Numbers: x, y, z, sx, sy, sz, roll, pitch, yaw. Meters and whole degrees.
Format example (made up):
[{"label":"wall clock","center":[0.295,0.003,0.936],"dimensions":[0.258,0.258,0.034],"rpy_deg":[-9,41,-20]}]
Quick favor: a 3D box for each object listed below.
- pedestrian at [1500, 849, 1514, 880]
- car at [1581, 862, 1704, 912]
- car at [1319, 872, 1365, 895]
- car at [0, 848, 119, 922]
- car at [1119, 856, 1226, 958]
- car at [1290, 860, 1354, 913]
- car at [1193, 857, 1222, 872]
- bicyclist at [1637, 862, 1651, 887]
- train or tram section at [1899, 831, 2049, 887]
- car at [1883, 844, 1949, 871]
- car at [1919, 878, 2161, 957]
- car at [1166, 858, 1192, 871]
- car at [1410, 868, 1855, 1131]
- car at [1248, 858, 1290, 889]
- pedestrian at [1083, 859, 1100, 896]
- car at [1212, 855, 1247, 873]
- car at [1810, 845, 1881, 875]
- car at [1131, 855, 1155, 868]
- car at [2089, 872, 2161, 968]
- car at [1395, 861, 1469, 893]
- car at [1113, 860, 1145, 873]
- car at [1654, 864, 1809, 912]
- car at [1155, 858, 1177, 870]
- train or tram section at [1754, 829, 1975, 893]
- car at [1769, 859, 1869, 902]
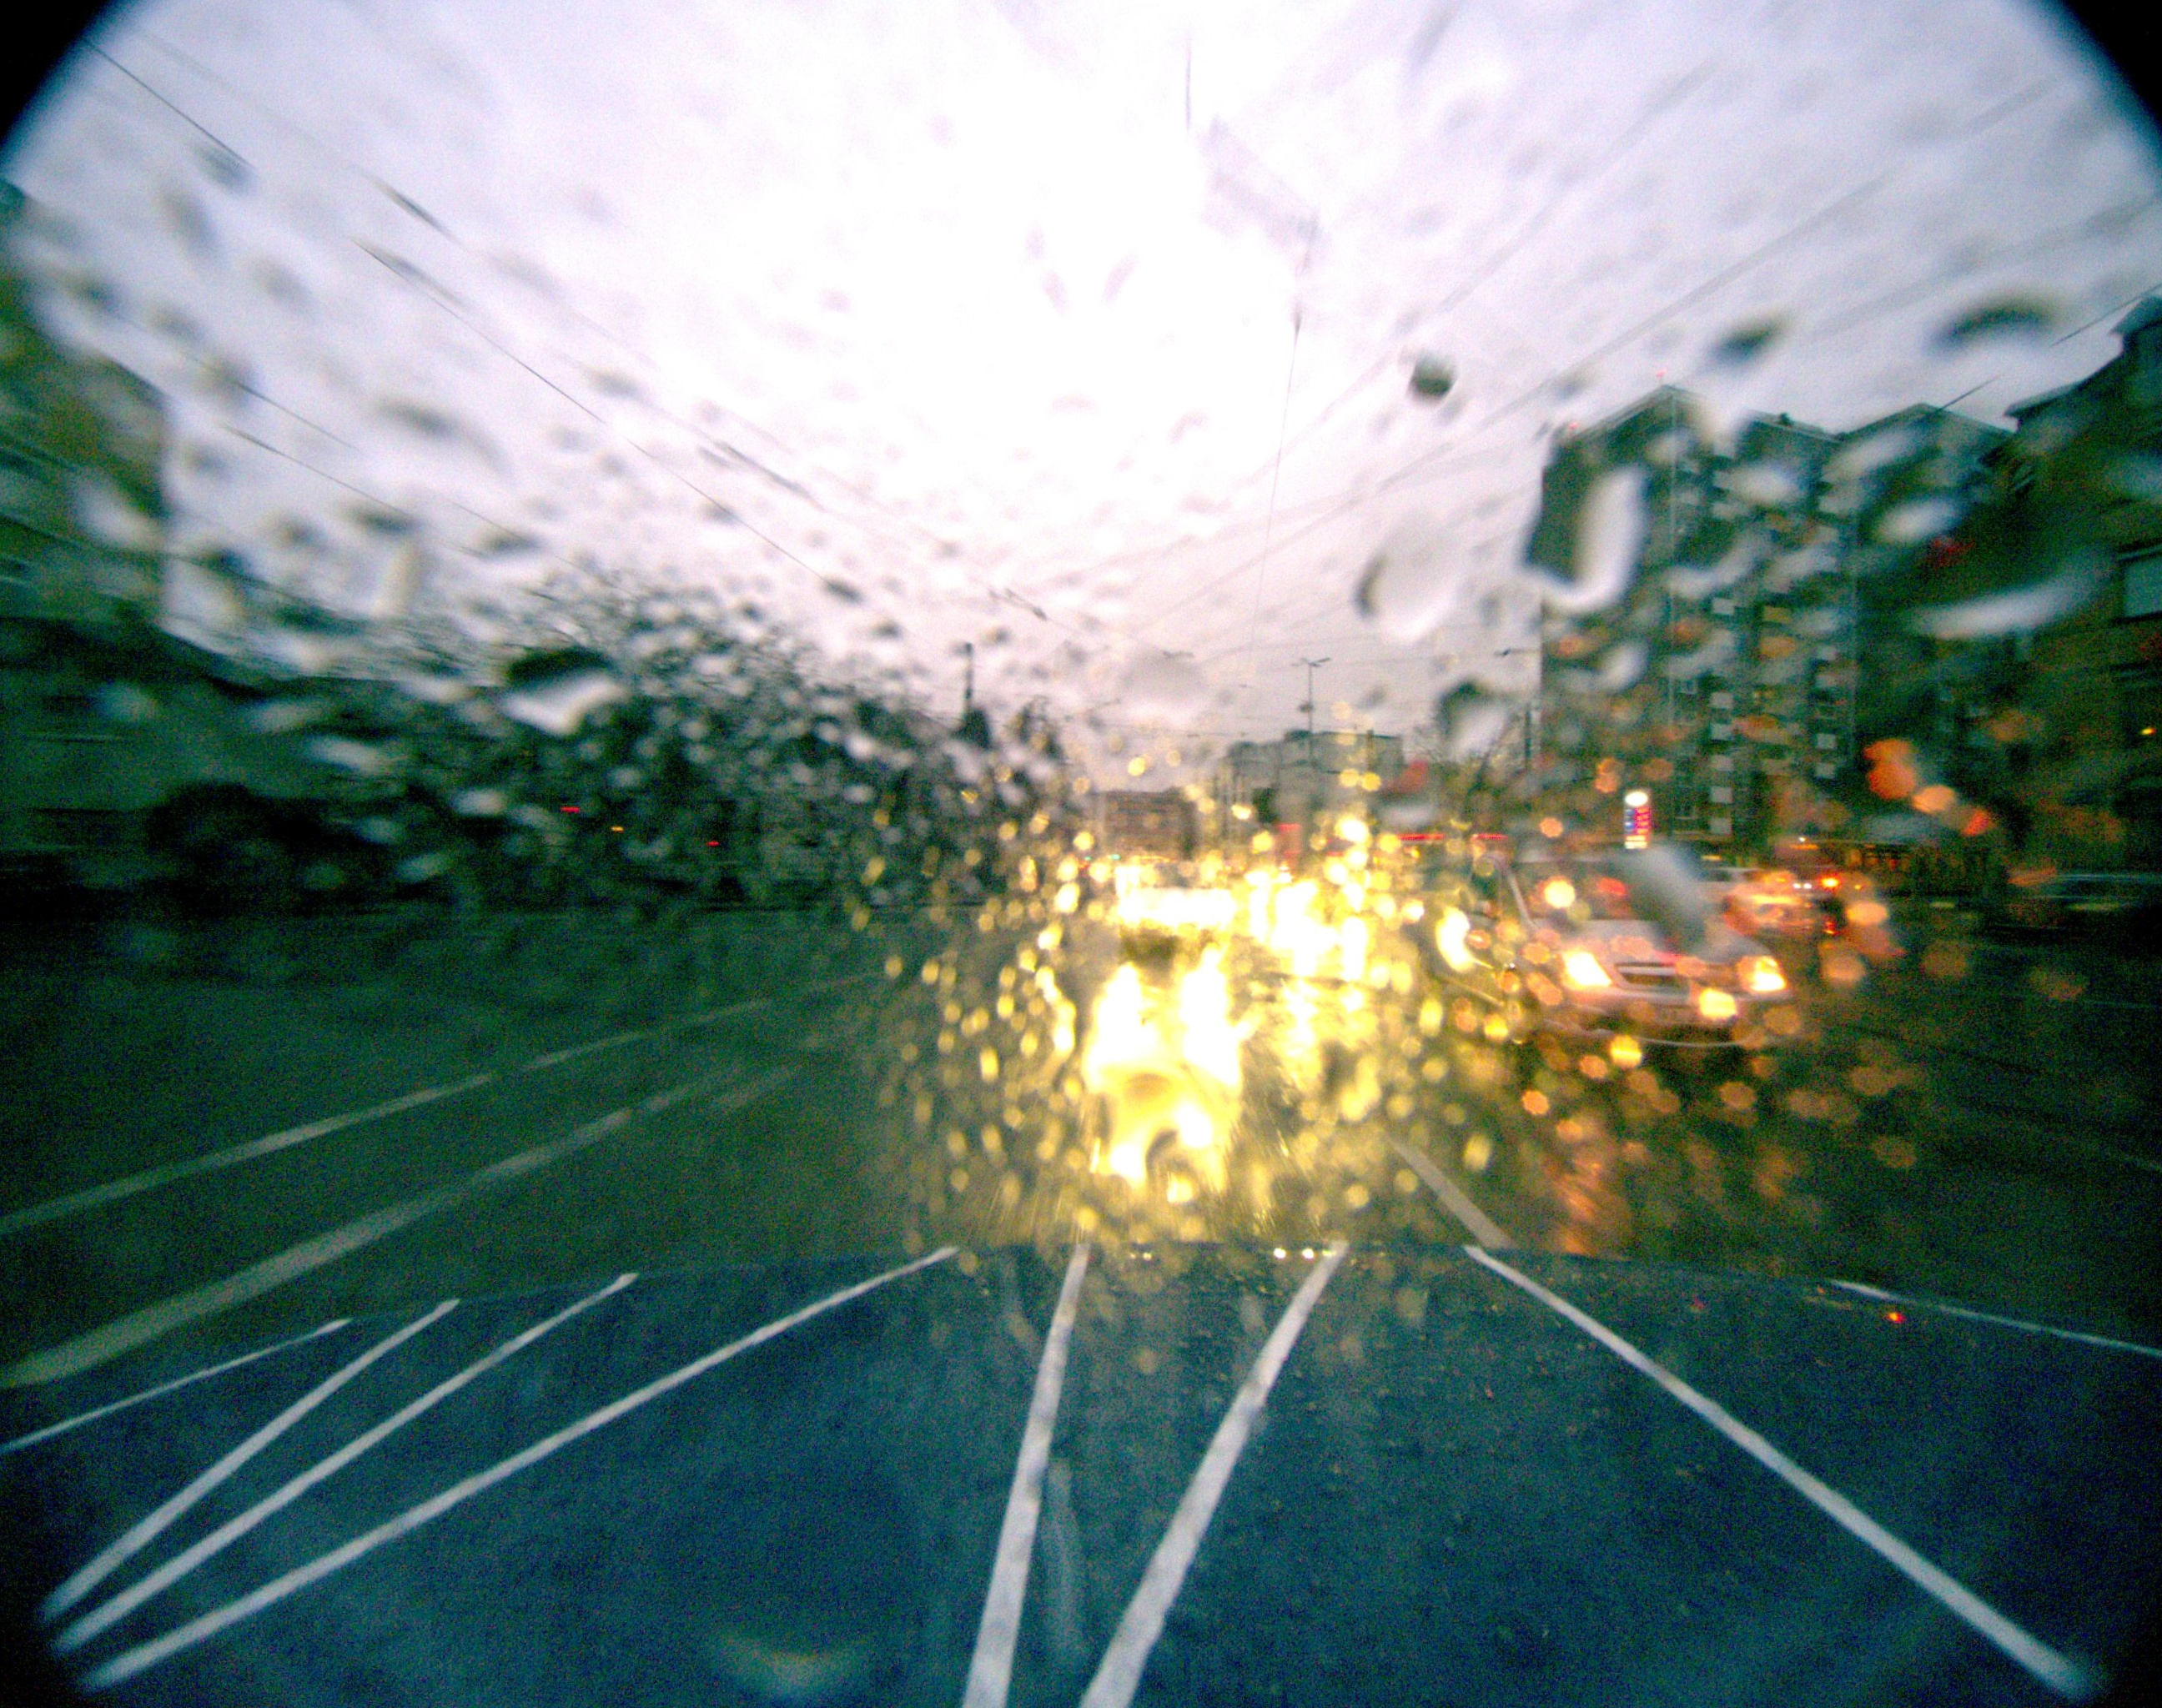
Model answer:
[{"label":"pedestrian","center":[24.294,0.606,43.310],"dimensions":[0.468,1.761,0.629],"rpy_deg":[0,1,6]},{"label":"car","center":[17.883,1.011,24.357],"dimensions":[1.491,1.478,3.152],"rpy_deg":[0,0,-4]},{"label":"car","center":[17.814,2.000,52.033],"dimensions":[1.684,1.449,4.062],"rpy_deg":[0,0,-1]},{"label":"car","center":[-26.291,0.690,17.660],"dimensions":[4.516,1.660,1.997],"rpy_deg":[1,0,-18]},{"label":"car","center":[1.817,0.850,14.046],"dimensions":[1.648,1.575,3.808],"rpy_deg":[0,0,12]},{"label":"car","center":[7.625,0.972,24.334],"dimensions":[1.750,1.535,4.005],"rpy_deg":[1,0,15]},{"label":"car","center":[14.189,1.216,85.495],"dimensions":[1.651,1.620,4.655],"rpy_deg":[1,-1,-10]},{"label":"bicyclist","center":[32.934,1.191,44.454],"dimensions":[0.971,1.382,0.505],"rpy_deg":[0,0,-43]},{"label":"train or tram section","center":[56.388,0.234,47.910],"dimensions":[11.164,3.218,3.163],"rpy_deg":[-1,1,-24]},{"label":"car","center":[62.791,0.242,57.155],"dimensions":[4.004,2.002,1.996],"rpy_deg":[-1,1,-20]},{"label":"car","center":[20.920,1.243,15.955],"dimensions":[1.684,1.346,4.386],"rpy_deg":[0,0,-2]},{"label":"car","center":[11.100,1.150,86.517],"dimensions":[1.650,1.441,3.846],"rpy_deg":[0,0,-14]},{"label":"car","center":[4.338,0.939,6.857],"dimensions":[1.648,1.539,4.113],"rpy_deg":[0,0,11]},{"label":"car","center":[11.214,1.130,45.538],"dimensions":[1.818,1.732,4.188],"rpy_deg":[1,0,6]},{"label":"pedestrian","center":[0.536,1.182,38.917],"dimensions":[0.573,1.828,0.684],"rpy_deg":[6,0,12]},{"label":"car","center":[17.249,1.149,88.582],"dimensions":[2.001,1.934,4.848],"rpy_deg":[3,0,-14]},{"label":"car","center":[53.250,0.402,52.938],"dimensions":[4.004,2.002,1.996],"rpy_deg":[-1,1,-20]},{"label":"car","center":[8.848,1.122,109.255],"dimensions":[1.970,1.772,4.528],"rpy_deg":[1,-1,-16]},{"label":"car","center":[18.486,1.086,11.162],"dimensions":[1.685,1.544,4.119],"rpy_deg":[0,0,-8]},{"label":"car","center":[17.567,1.111,38.286],"dimensions":[1.684,1.449,4.334],"rpy_deg":[0,0,-1]},{"label":"car","center":[5.128,1.311,81.327],"dimensions":[1.970,1.378,4.527],"rpy_deg":[1,-1,-16]},{"label":"car","center":[20.796,1.044,24.495],"dimensions":[1.685,1.384,3.612],"rpy_deg":[0,0,-5]},{"label":"car","center":[11.165,1.314,99.888],"dimensions":[1.651,1.478,3.996],"rpy_deg":[1,-1,-13]},{"label":"train or tram section","center":[43.858,0.230,42.265],"dimensions":[16.328,3.170,3.163],"rpy_deg":[-1,1,-24]},{"label":"car","center":[27.831,0.951,28.626],"dimensions":[4.235,1.516,1.681],"rpy_deg":[0,0,-31]}]
